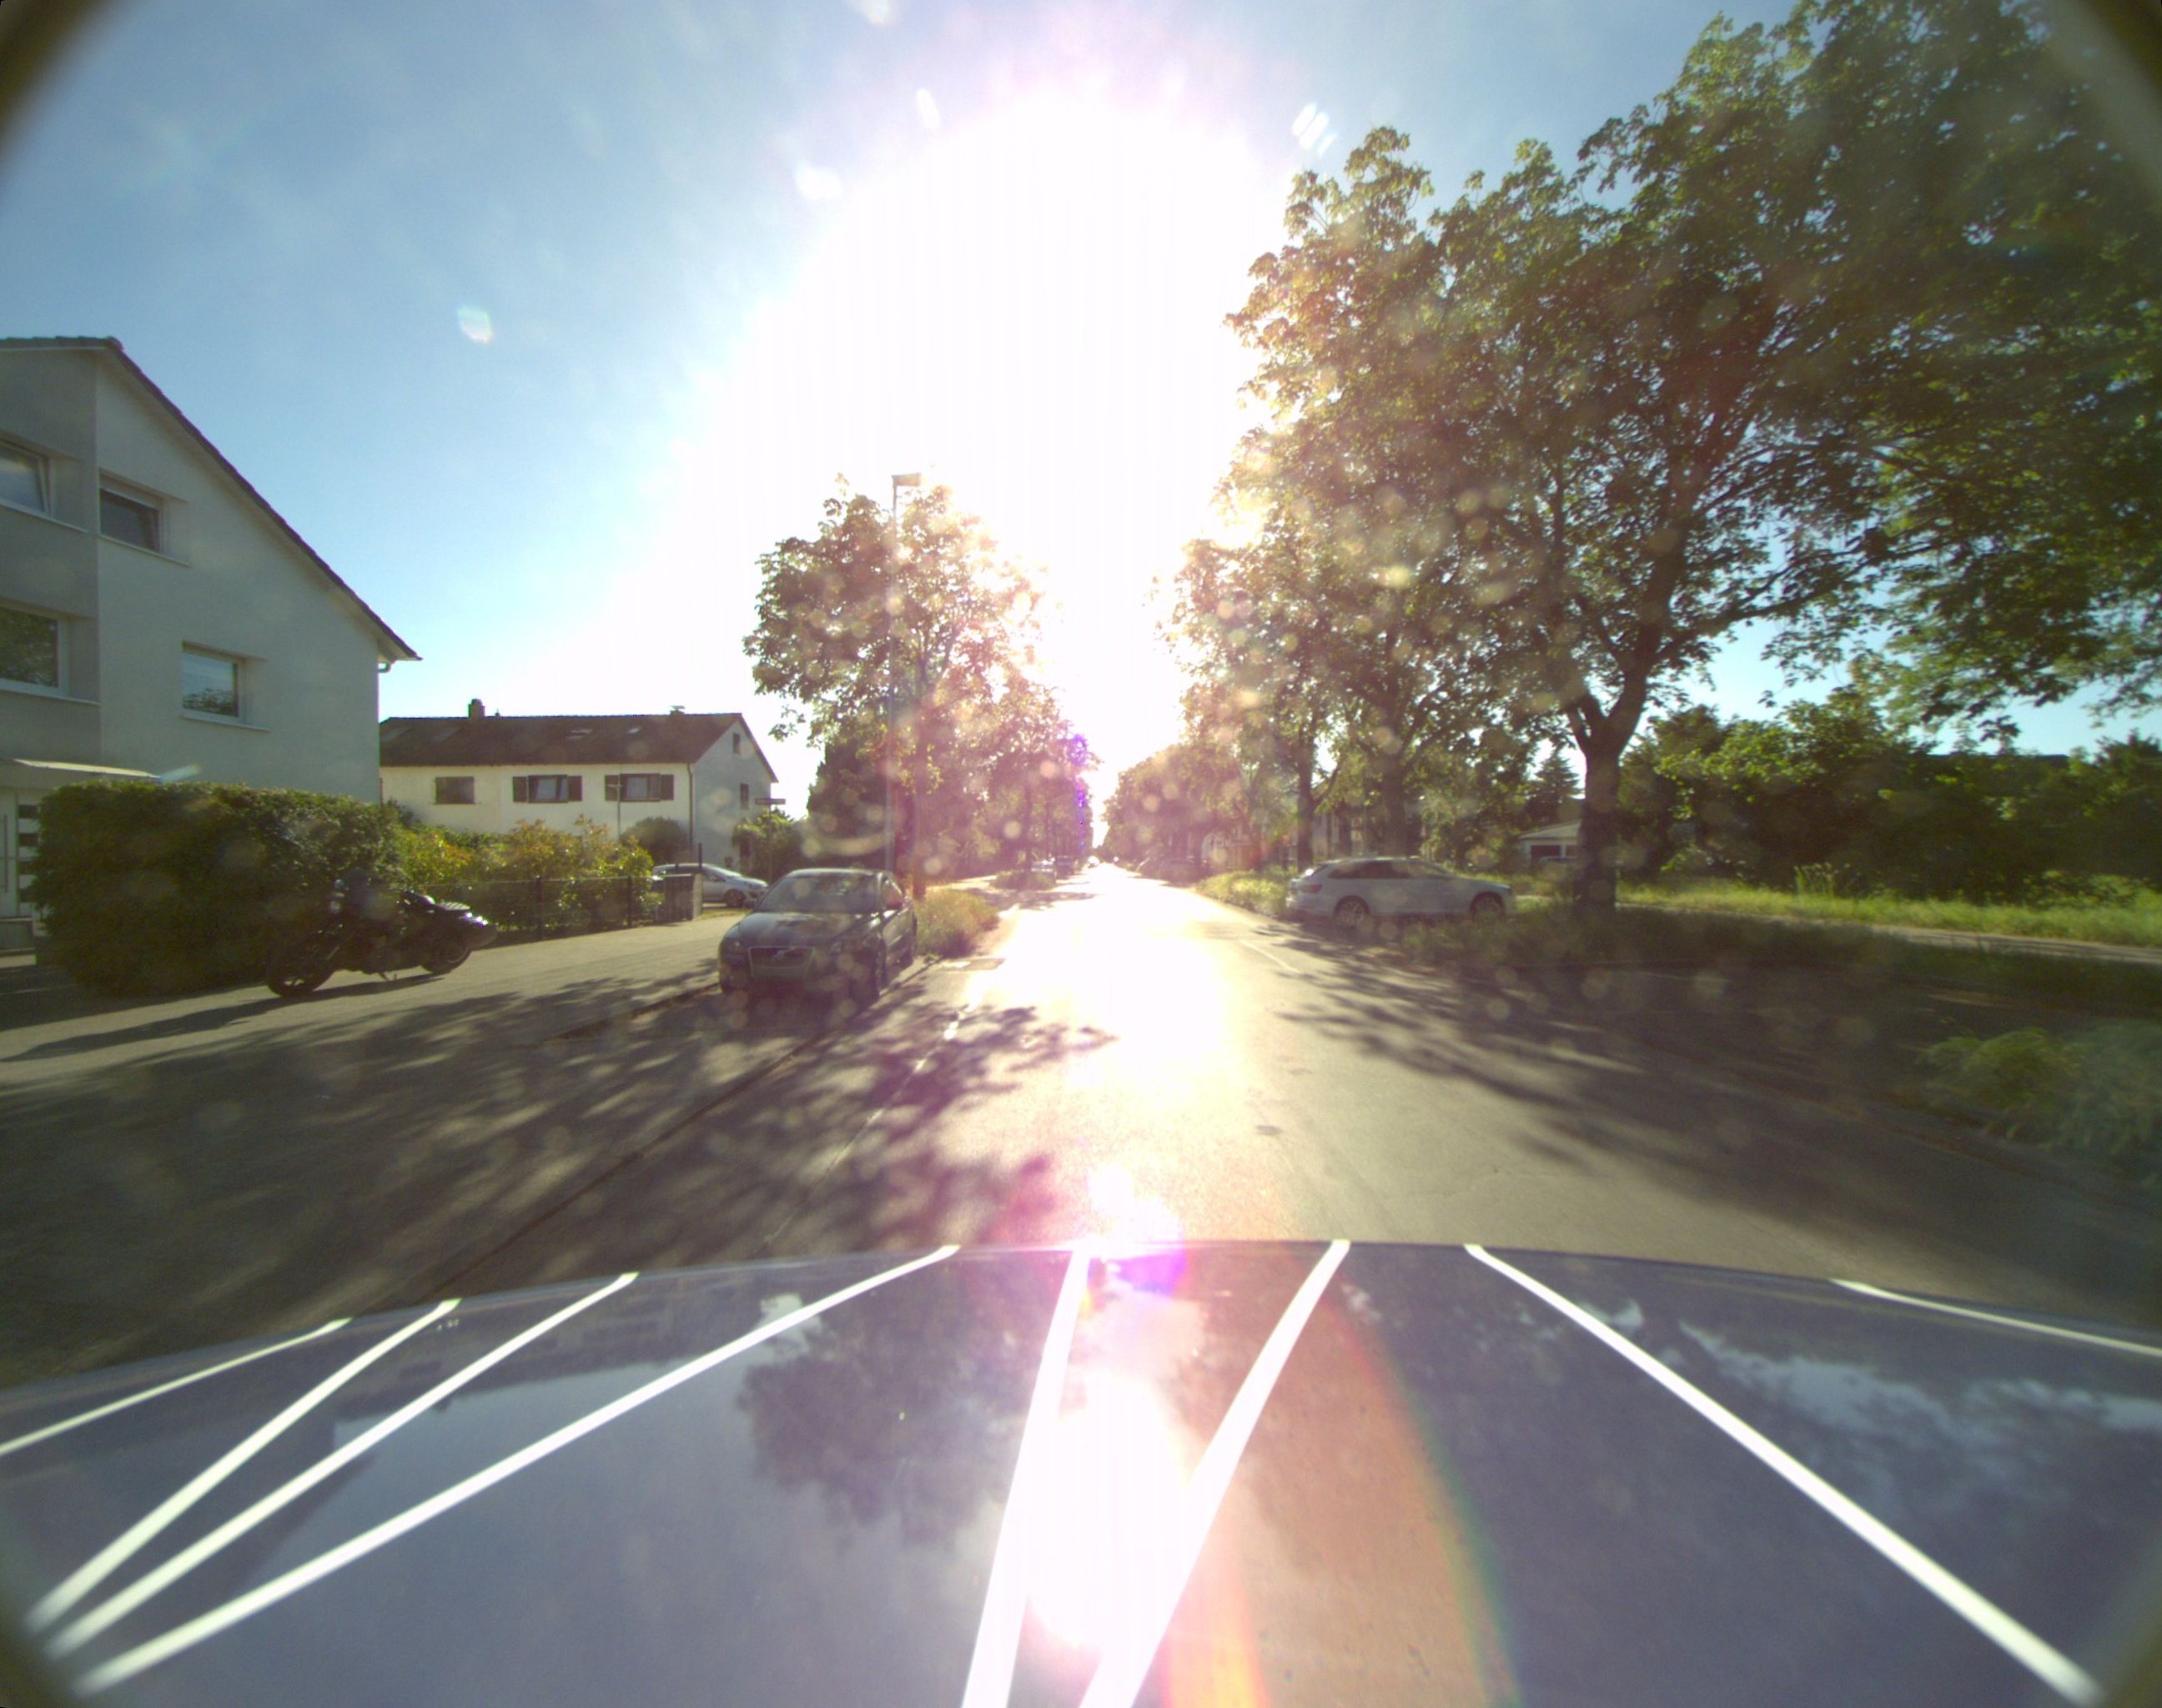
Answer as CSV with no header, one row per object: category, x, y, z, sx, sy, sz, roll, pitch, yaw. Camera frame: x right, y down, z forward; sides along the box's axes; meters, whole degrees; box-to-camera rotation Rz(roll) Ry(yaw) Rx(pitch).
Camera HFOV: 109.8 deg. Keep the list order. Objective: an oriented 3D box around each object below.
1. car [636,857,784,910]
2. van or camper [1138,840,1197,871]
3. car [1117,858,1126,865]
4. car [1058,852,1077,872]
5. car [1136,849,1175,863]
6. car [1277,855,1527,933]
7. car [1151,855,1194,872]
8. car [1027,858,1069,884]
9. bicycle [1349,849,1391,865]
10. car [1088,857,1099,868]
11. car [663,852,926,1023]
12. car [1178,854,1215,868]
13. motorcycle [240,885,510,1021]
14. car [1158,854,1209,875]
car,-12.152,0.940,25.087,3.999,1.630,1.775,-1,0,-5
van or camper,9.038,0.112,79.817,5.789,2.789,2.000,-4,1,3
car,9.434,1.736,177.488,1.998,1.530,3.695,-4,1,3
car,-1.559,0.892,88.411,1.998,2.002,5.195,-4,1,0
car,10.382,0.270,106.429,5.075,1.718,1.999,-4,1,-3
car,6.948,0.843,16.849,4.682,1.494,2.000,-1,0,3
car,9.233,0.956,76.949,3.997,1.450,2.000,-4,1,0
car,-2.051,1.080,48.624,1.997,1.502,4.002,0,1,8
bicycle,21.907,0.251,57.765,0.706,1.169,4.051,-1,0,-15
car,2.125,1.430,125.949,1.539,1.582,3.459,-4,1,3
car,-3.383,0.850,10.014,1.999,1.612,4.379,-4,1,-5
car,13.518,0.797,89.028,3.998,1.533,1.869,-2,1,-4
motorcycle,-7.742,1.010,8.556,0.820,1.220,2.352,0,0,1
car,8.488,0.859,63.099,3.997,1.651,1.967,-1,0,0
